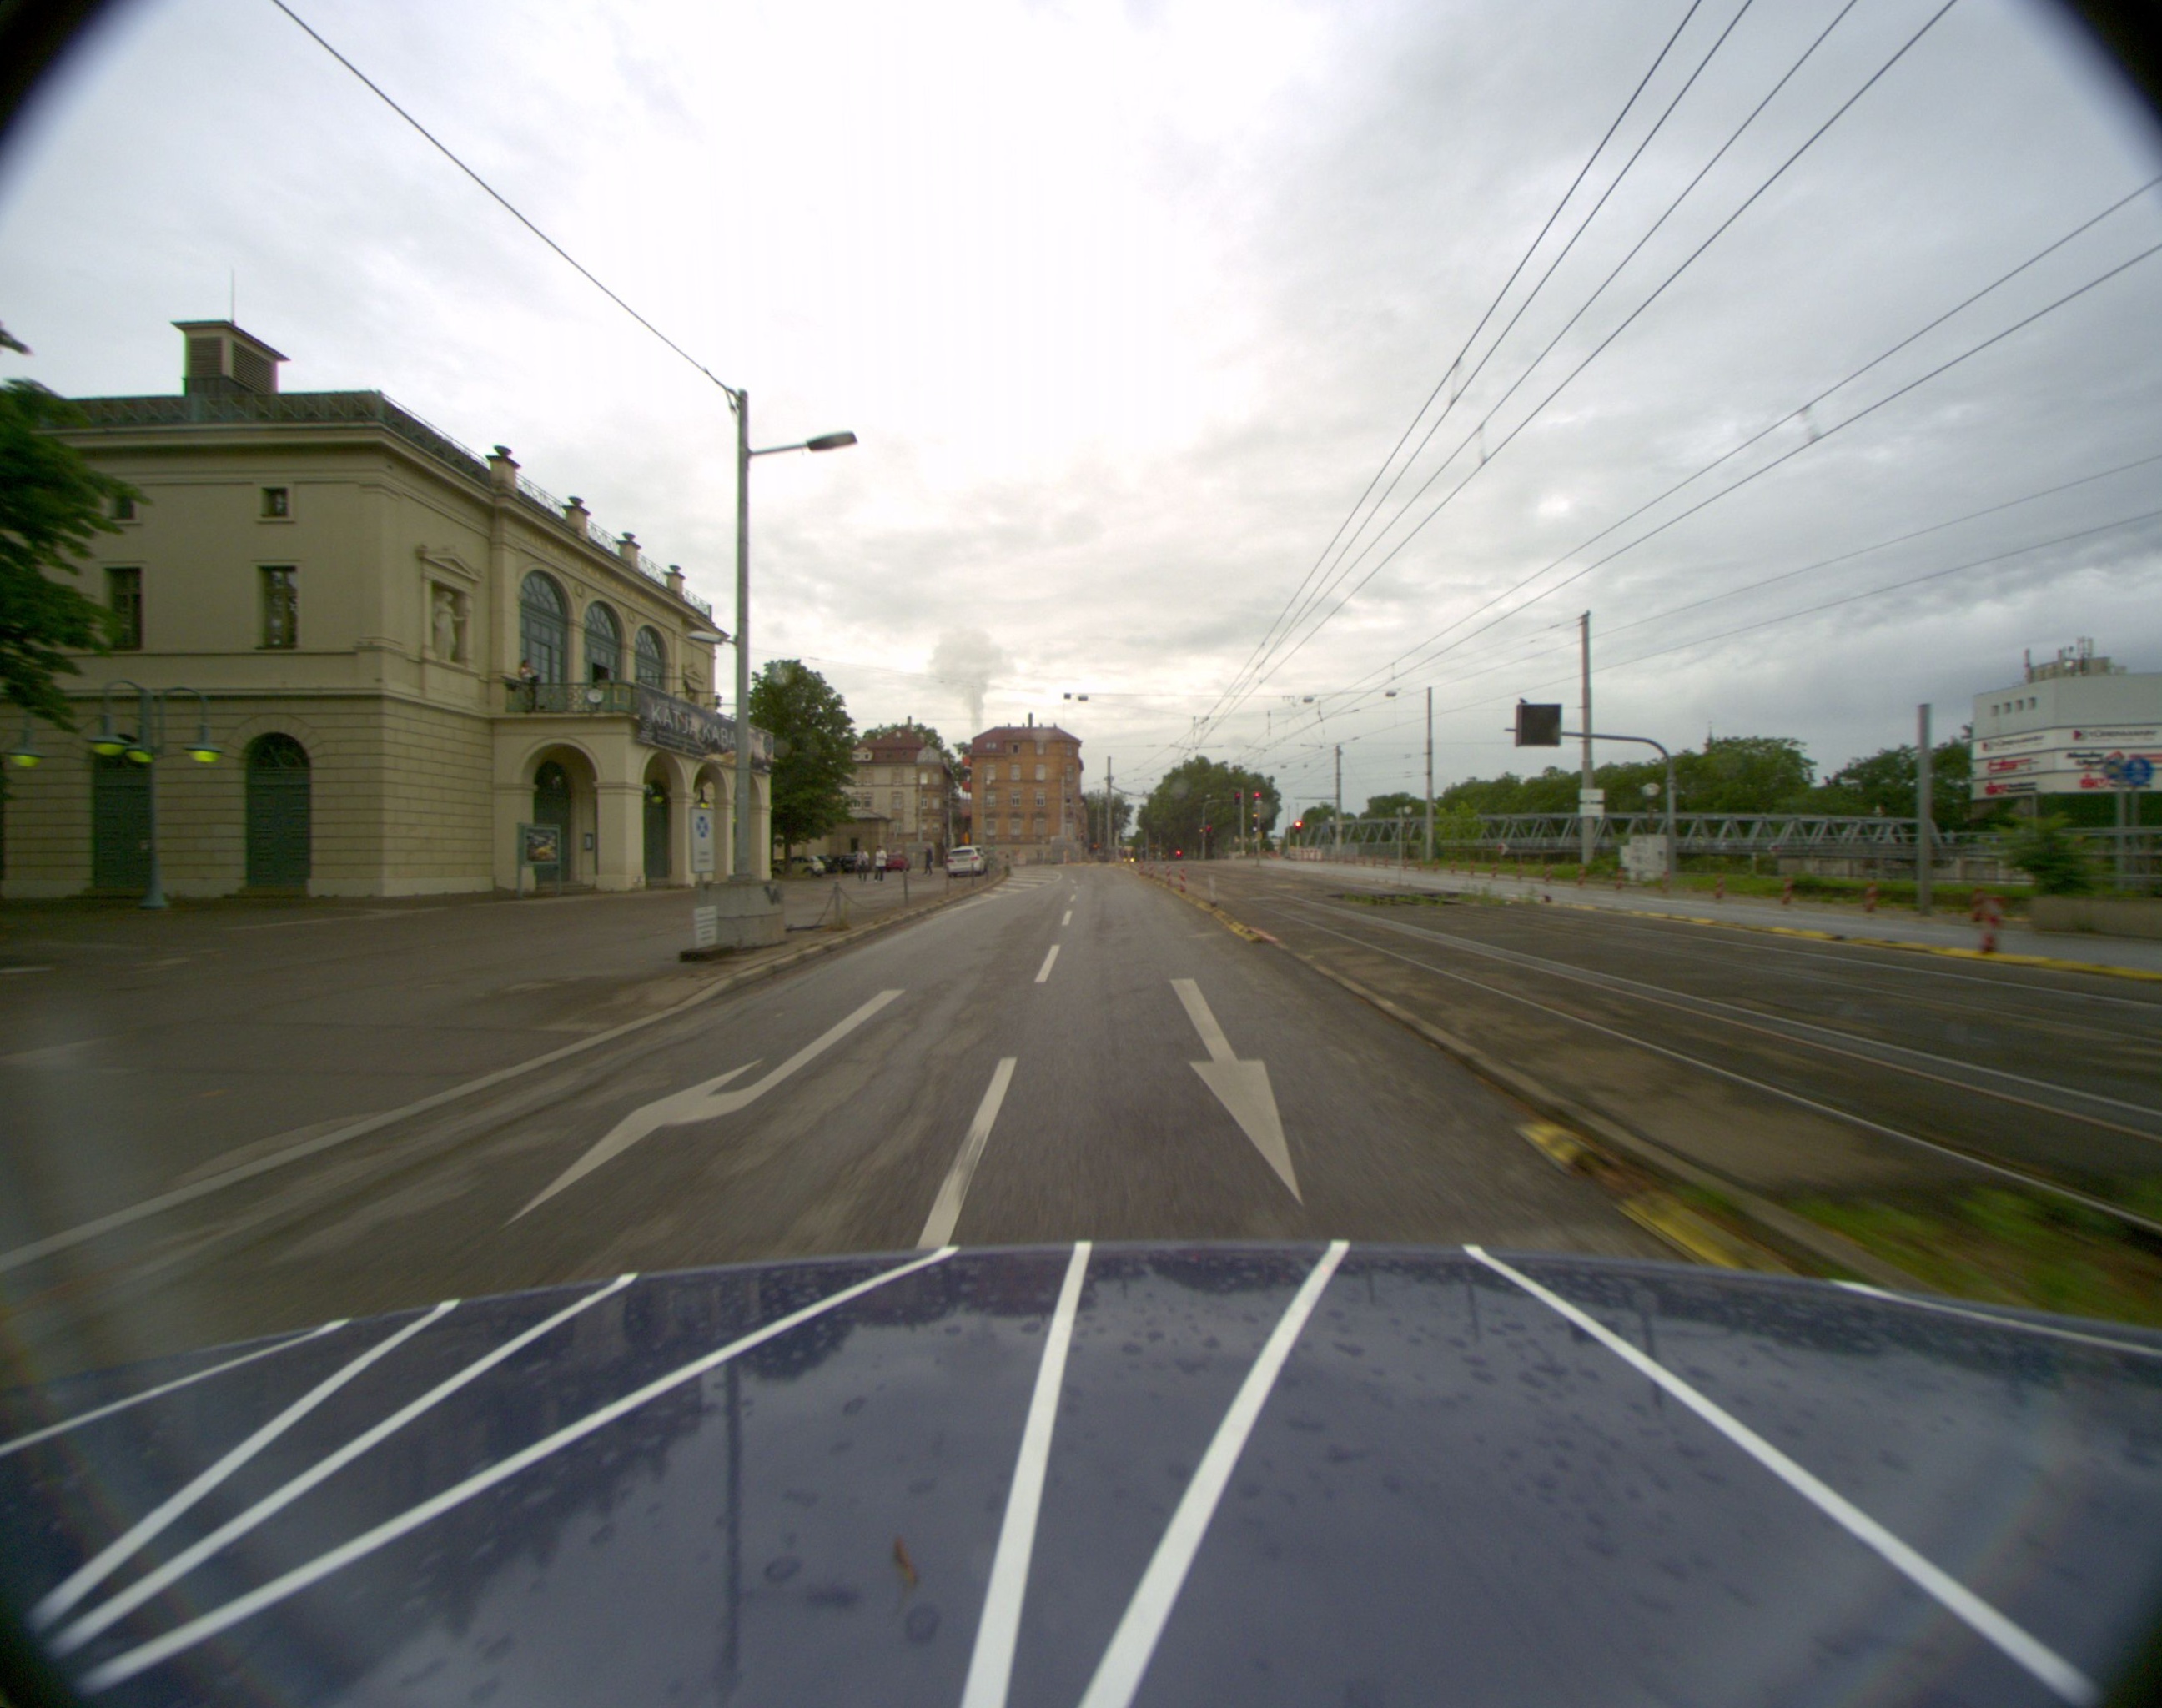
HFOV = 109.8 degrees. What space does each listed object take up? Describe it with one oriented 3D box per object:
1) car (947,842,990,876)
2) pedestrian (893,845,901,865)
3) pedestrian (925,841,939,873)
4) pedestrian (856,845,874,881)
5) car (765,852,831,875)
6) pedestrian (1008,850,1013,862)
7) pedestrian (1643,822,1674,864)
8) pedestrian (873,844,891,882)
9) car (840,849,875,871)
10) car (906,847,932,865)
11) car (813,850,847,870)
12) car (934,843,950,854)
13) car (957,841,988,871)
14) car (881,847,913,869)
[{"bbox_3d":[-6.095,0.240,41.680,1.844,1.630,4.140,-4,2,-3],"label":"car"},{"bbox_3d":[-16.829,0.087,69.421,0.451,1.732,0.712,0,2,13],"label":"pedestrian"},{"bbox_3d":[-8.665,0.161,44.210,0.698,1.797,0.780,-2,2,-8],"label":"pedestrian"},{"bbox_3d":[-10.028,0.419,35.305,0.629,1.635,0.780,0,2,-5],"label":"pedestrian"},{"bbox_3d":[-18.917,0.611,50.904,3.742,1.461,1.729,0,2,4],"label":"car"},{"bbox_3d":[-9.359,0.234,100.773,0.512,1.645,0.534,-1,2,-1],"label":"pedestrian"},{"bbox_3d":[23.600,-0.448,31.076,0.766,1.678,0.618,0,2,0],"label":"pedestrian"},{"bbox_3d":[-9.085,0.391,34.720,0.595,1.726,0.838,0,2,-1],"label":"pedestrian"},{"bbox_3d":[-17.745,0.441,60.504,1.864,1.540,4.063,-2,2,-5],"label":"car"},{"bbox_3d":[-15.138,0.184,71.256,1.831,1.574,3.997,0,2,-4],"label":"car"},{"bbox_3d":[-20.270,0.471,61.430,1.682,1.489,3.997,0,2,-5],"label":"car"},{"bbox_3d":[-20.366,-0.812,111.583,1.831,1.574,3.997,0,2,-4],"label":"car"},{"bbox_3d":[-6.771,0.107,47.481,1.721,1.630,4.138,-4,2,-7],"label":"car"},{"bbox_3d":[-14.544,0.307,60.300,1.831,1.574,3.997,0,2,-4],"label":"car"}]
